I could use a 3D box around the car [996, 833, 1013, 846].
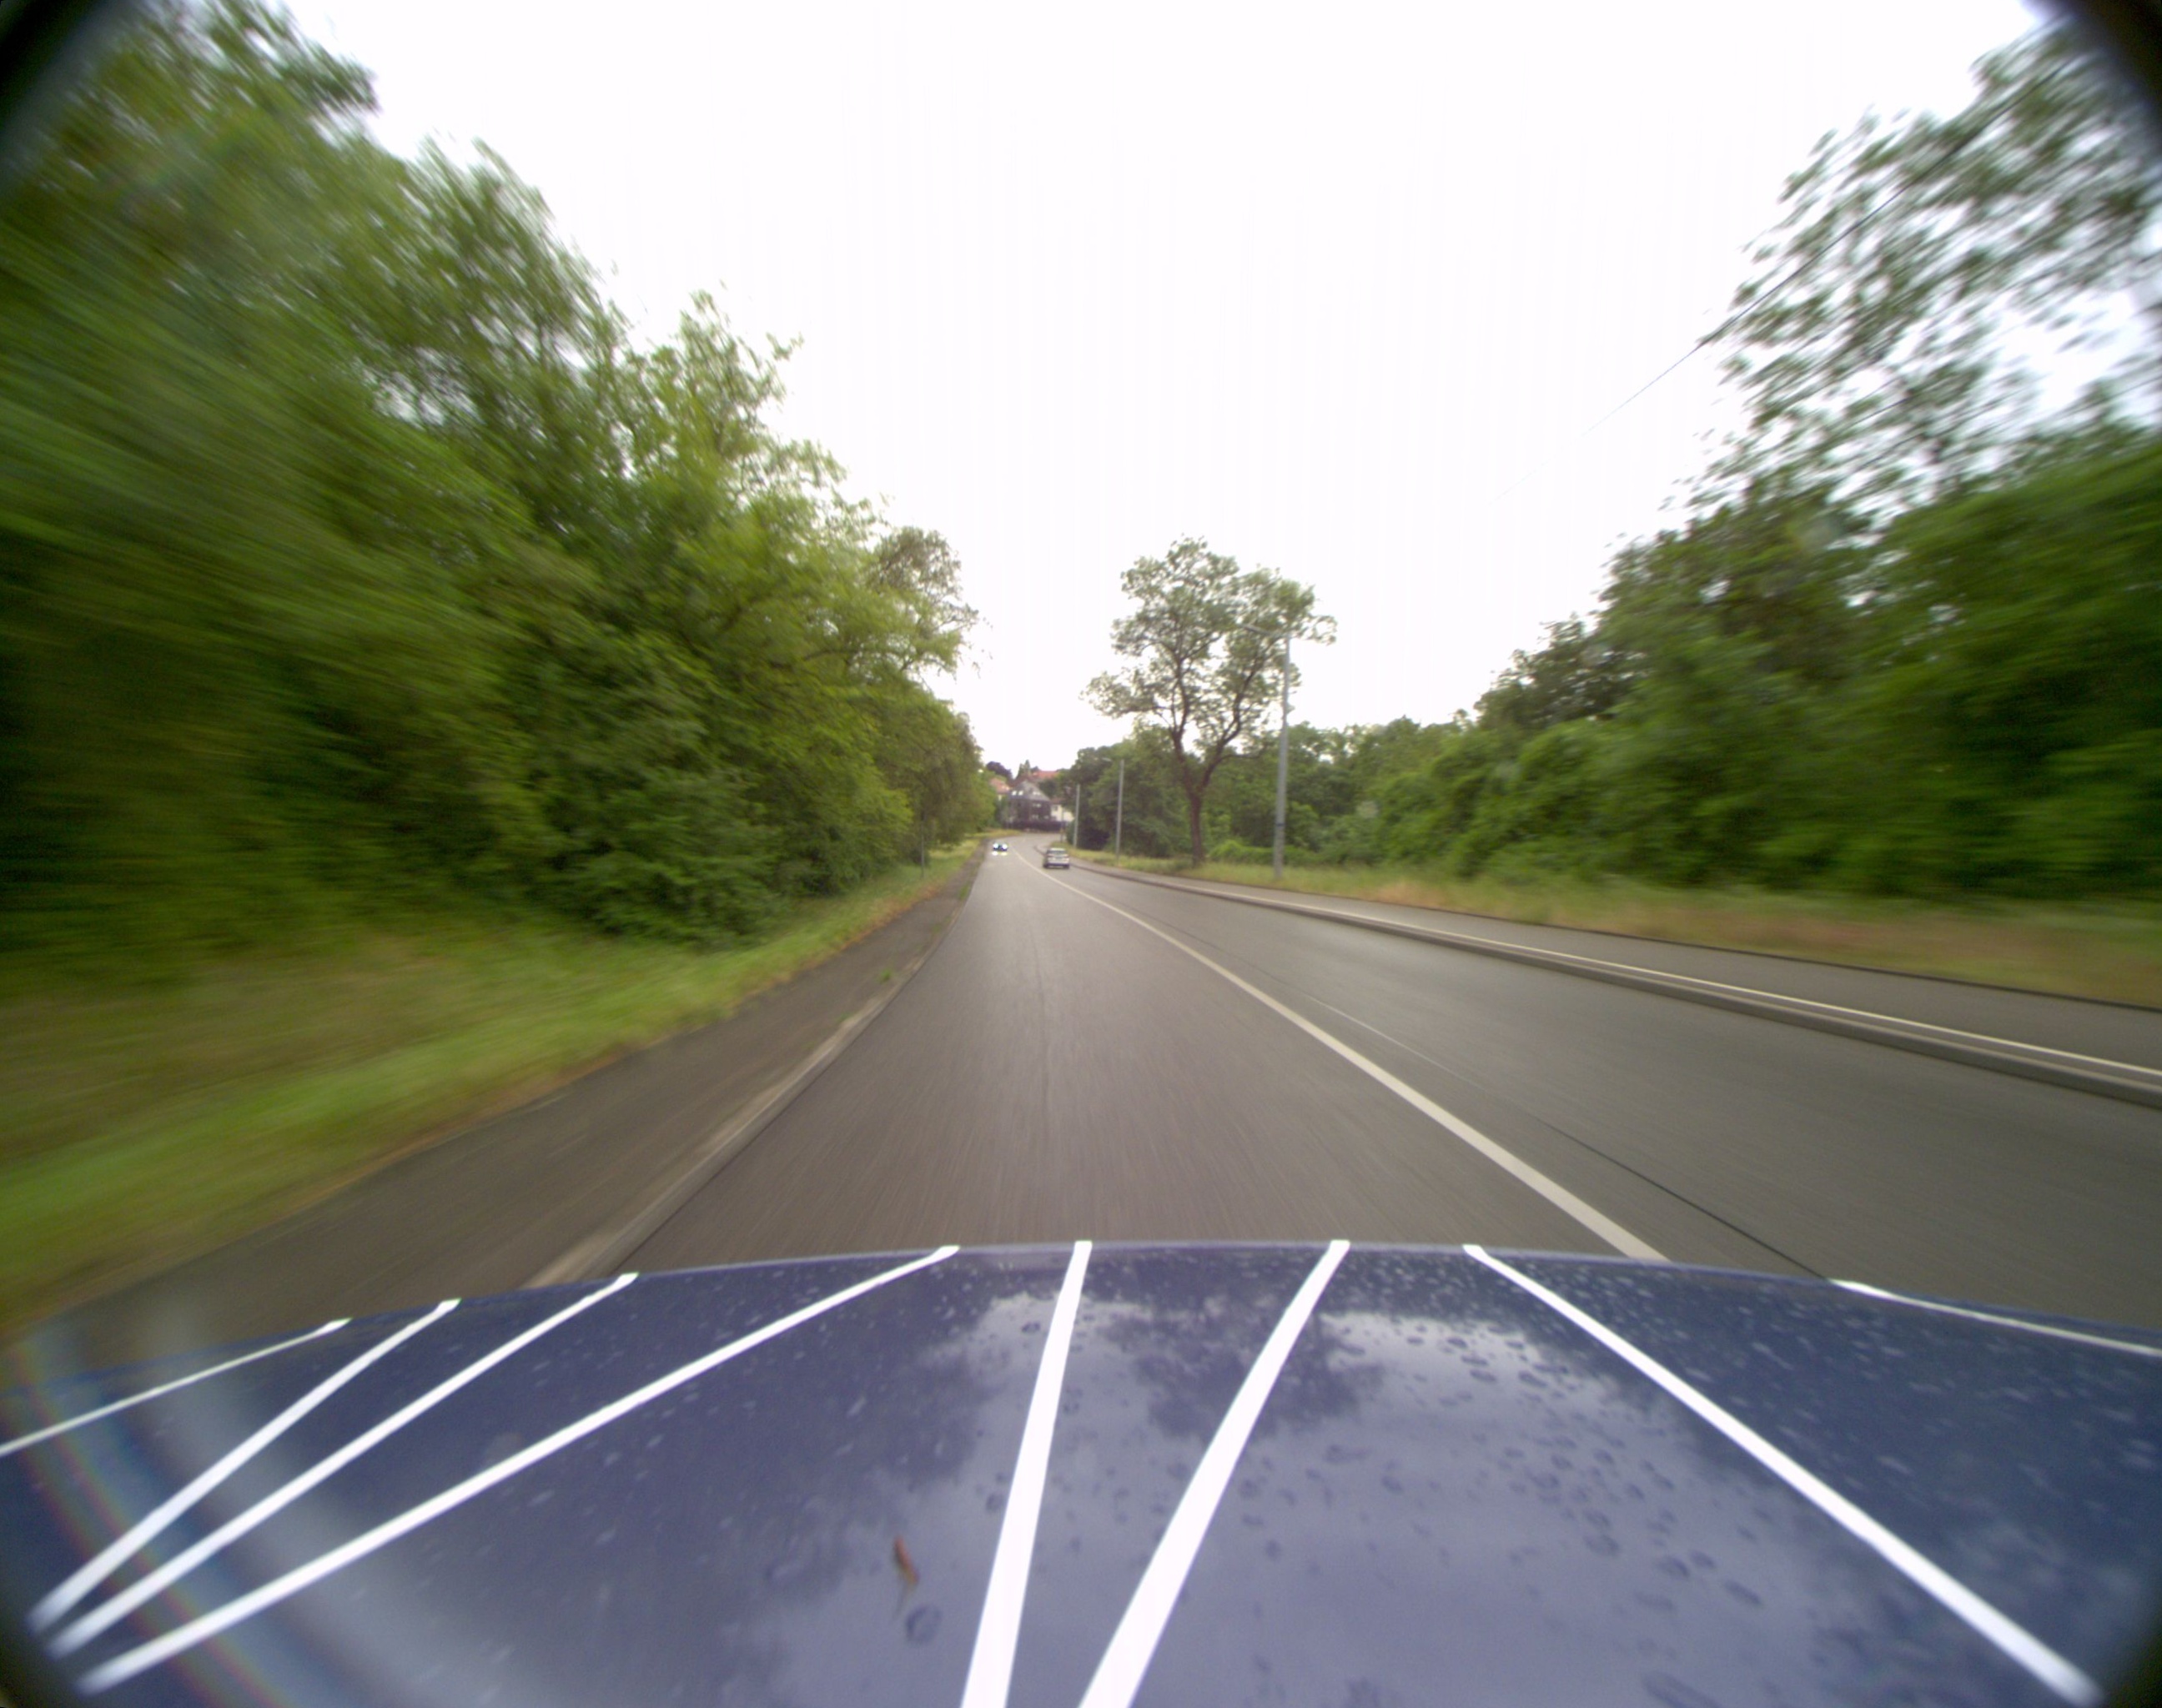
[{"bbox_3d":[-9.975,-1.900,99.583,1.999,1.707,3.998,1,1,-3],"label":"car"}]

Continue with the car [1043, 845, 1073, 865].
[{"bbox_3d":[-1.772,0.090,56.447,1.786,1.422,4.471,0,0,-8],"label":"car"}]
